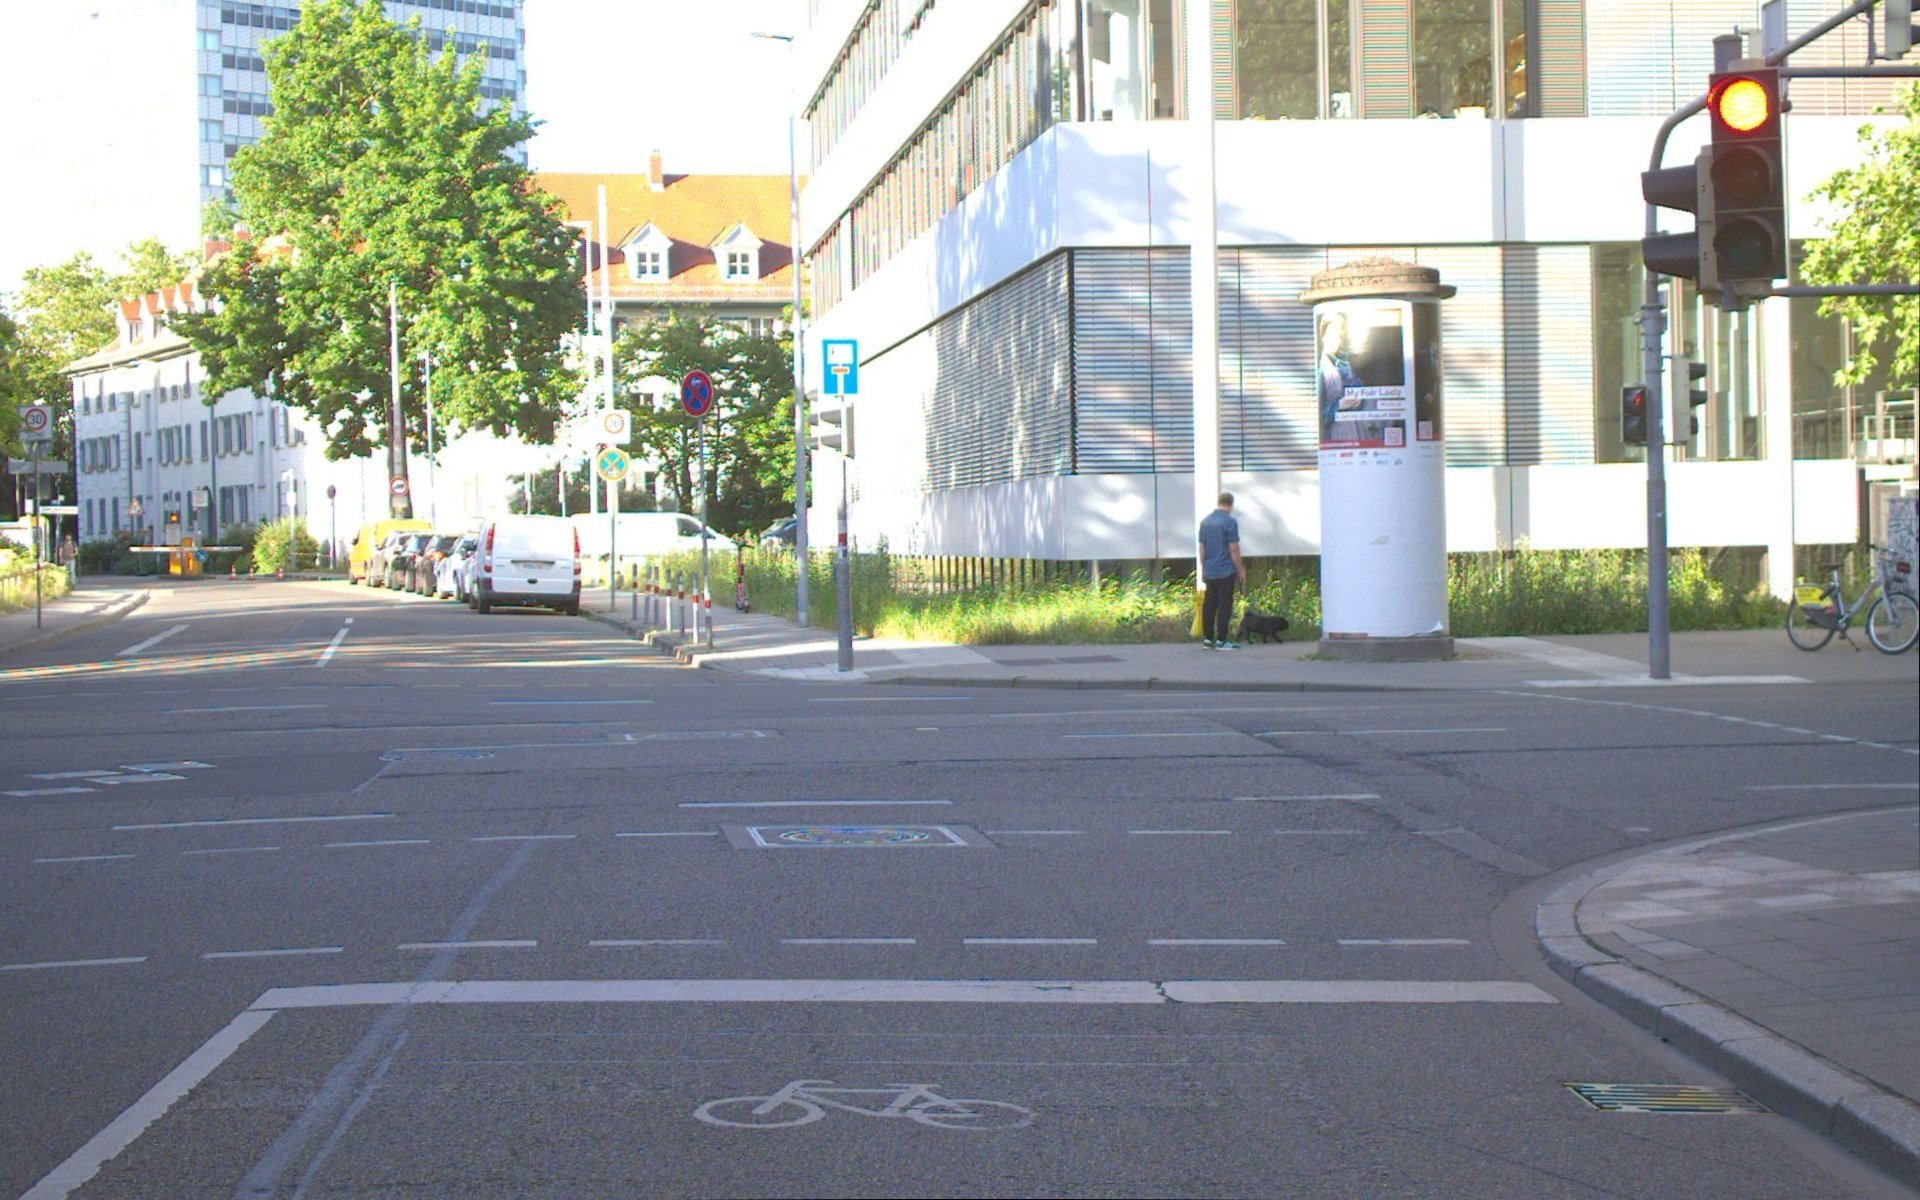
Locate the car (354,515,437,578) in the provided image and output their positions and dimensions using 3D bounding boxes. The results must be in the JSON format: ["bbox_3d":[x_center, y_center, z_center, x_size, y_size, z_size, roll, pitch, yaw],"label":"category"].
[{"bbox_3d":[-15.734,-1.499,95.674,2.100,1.652,4.477,-1,1,-11],"label":"car"}]

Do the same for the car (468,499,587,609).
[{"bbox_3d":[-8.165,-0.881,64.658,2.066,1.956,4.239,-1,1,-9],"label":"car"}]

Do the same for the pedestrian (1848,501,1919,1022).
[{"bbox_3d":[3.331,0.460,10.497,0.954,1.568,0.750,-4,1,2],"label":"pedestrian"}]

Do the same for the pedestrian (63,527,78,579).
[{"bbox_3d":[-26.545,-1.397,102.592,0.380,1.529,0.446,-1,1,-12],"label":"pedestrian"}]

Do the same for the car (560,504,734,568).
[{"bbox_3d":[-9.378,-1.899,102.823,4.880,1.865,2.001,0,0,-17],"label":"car"}]

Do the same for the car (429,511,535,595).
[{"bbox_3d":[-10.668,-1.069,76.576,1.946,1.789,4.239,-1,1,-13],"label":"car"}]

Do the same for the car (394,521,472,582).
[{"bbox_3d":[-13.186,-1.216,85.853,1.703,1.459,4.239,-1,1,-11],"label":"car"}]

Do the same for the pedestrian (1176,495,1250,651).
[{"bbox_3d":[2.853,-0.314,38.801,0.652,1.730,0.812,-1,1,-7],"label":"pedestrian"}]

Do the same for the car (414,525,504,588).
[{"bbox_3d":[-11.866,-1.042,81.263,1.703,1.419,4.239,-1,1,-14],"label":"car"}]

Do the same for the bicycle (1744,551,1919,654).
[{"bbox_3d":[9.182,0.021,36.133,0.463,1.045,1.914,-2,2,-42],"label":"bicycle"}]
